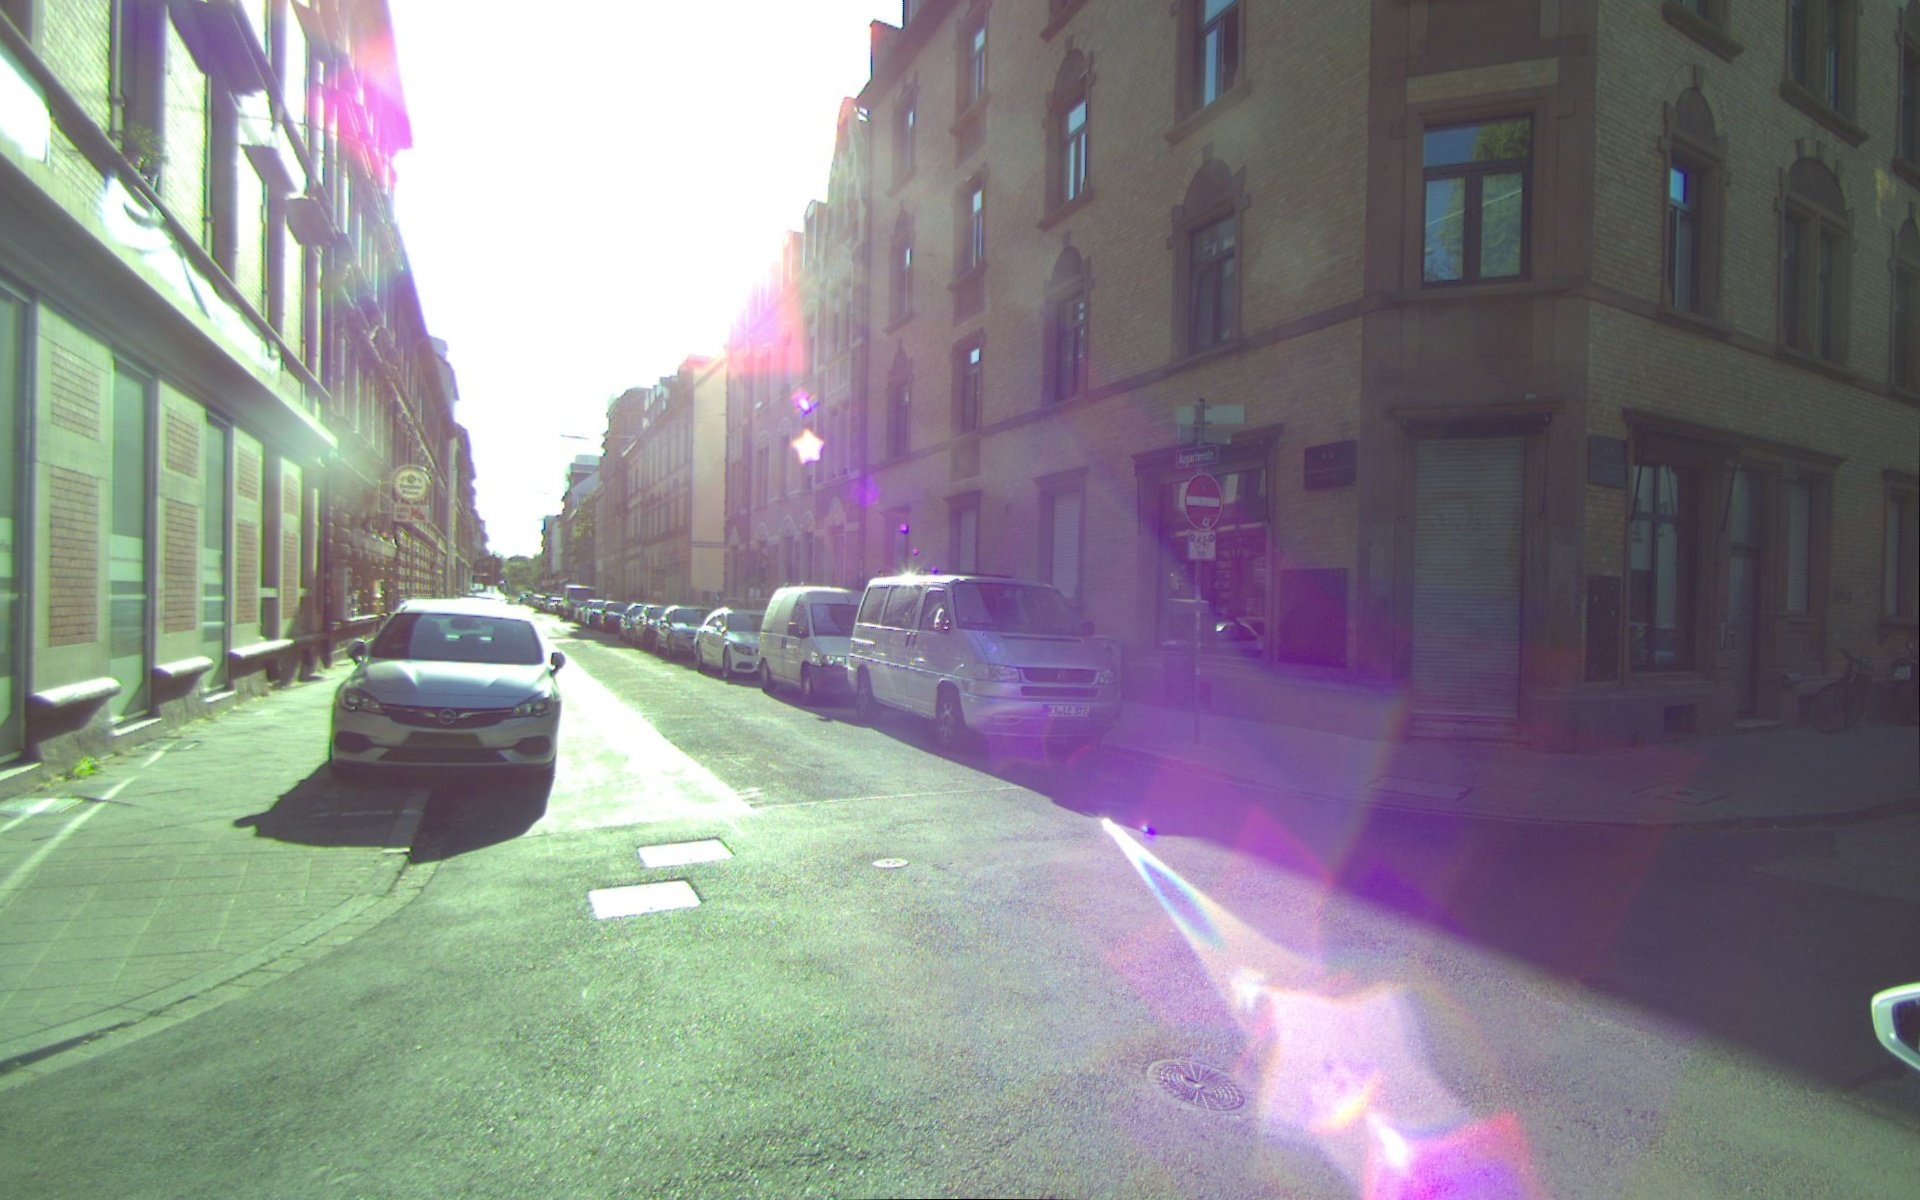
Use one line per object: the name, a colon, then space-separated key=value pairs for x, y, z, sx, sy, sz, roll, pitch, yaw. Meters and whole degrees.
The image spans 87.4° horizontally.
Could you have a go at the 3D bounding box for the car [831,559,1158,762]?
car: x=0.137 y=0.626 z=12.087 sx=1.999 sy=1.919 sz=4.698 roll=3 pitch=-1 yaw=-24

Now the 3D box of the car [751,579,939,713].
car: x=-2.110 y=0.719 z=17.139 sx=1.913 sy=1.919 sz=4.338 roll=4 pitch=-2 yaw=-23

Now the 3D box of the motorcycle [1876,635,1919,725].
motorcycle: x=13.989 y=1.136 z=14.549 sx=1.886 sy=1.222 sz=0.531 roll=1 pitch=0 yaw=-30

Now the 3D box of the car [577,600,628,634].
car: x=-16.743 y=0.774 z=46.926 sx=1.756 sy=1.504 sz=4.333 roll=1 pitch=-1 yaw=-27

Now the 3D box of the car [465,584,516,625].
car: x=-19.537 y=0.177 z=41.890 sx=1.748 sy=1.550 sz=3.514 roll=4 pitch=-1 yaw=-24

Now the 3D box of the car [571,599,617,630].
car: x=-19.022 y=0.743 z=52.095 sx=1.756 sy=1.504 sz=4.333 roll=1 pitch=-1 yaw=-27

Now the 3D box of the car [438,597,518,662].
car: x=-12.840 y=0.750 z=26.905 sx=1.748 sy=1.550 sz=3.514 roll=4 pitch=-1 yaw=-24

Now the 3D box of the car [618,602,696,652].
car: x=-10.096 y=0.858 z=33.294 sx=1.756 sy=1.504 sz=4.333 roll=1 pitch=-1 yaw=-27

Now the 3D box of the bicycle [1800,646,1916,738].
bicycle: x=11.930 y=1.191 z=13.332 sx=1.869 sy=1.088 sz=0.530 roll=1 pitch=4 yaw=-30

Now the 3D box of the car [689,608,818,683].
car: x=-4.724 y=0.956 z=22.535 sx=1.756 sy=1.461 sz=4.333 roll=1 pitch=-1 yaw=-27

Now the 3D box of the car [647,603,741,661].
car: x=-7.716 y=0.870 z=28.905 sx=1.756 sy=1.504 sz=4.333 roll=1 pitch=-1 yaw=-27

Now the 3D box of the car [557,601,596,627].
car: x=-23.576 y=0.816 z=61.672 sx=1.756 sy=1.504 sz=4.333 roll=1 pitch=-1 yaw=-27

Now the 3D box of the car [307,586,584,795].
car: x=-4.866 y=0.725 z=9.867 sx=1.842 sy=1.550 sz=4.415 roll=4 pitch=-1 yaw=-24

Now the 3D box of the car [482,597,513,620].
car: x=-31.597 y=0.545 z=68.618 sx=1.756 sy=1.504 sz=4.333 roll=1 pitch=-1 yaw=-27

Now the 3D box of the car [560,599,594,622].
car: x=-26.005 y=0.717 z=68.158 sx=1.756 sy=1.504 sz=4.333 roll=1 pitch=-1 yaw=-27

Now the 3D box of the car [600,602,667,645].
car: x=-12.269 y=0.838 z=37.593 sx=1.756 sy=1.504 sz=4.333 roll=1 pitch=-1 yaw=-27

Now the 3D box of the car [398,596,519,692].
car: x=-9.173 y=0.763 z=18.594 sx=1.748 sy=1.550 sz=3.514 roll=4 pitch=-1 yaw=-24

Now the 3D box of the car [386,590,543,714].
car: x=-7.208 y=0.697 z=14.833 sx=1.748 sy=1.550 sz=3.670 roll=4 pitch=-1 yaw=-24
